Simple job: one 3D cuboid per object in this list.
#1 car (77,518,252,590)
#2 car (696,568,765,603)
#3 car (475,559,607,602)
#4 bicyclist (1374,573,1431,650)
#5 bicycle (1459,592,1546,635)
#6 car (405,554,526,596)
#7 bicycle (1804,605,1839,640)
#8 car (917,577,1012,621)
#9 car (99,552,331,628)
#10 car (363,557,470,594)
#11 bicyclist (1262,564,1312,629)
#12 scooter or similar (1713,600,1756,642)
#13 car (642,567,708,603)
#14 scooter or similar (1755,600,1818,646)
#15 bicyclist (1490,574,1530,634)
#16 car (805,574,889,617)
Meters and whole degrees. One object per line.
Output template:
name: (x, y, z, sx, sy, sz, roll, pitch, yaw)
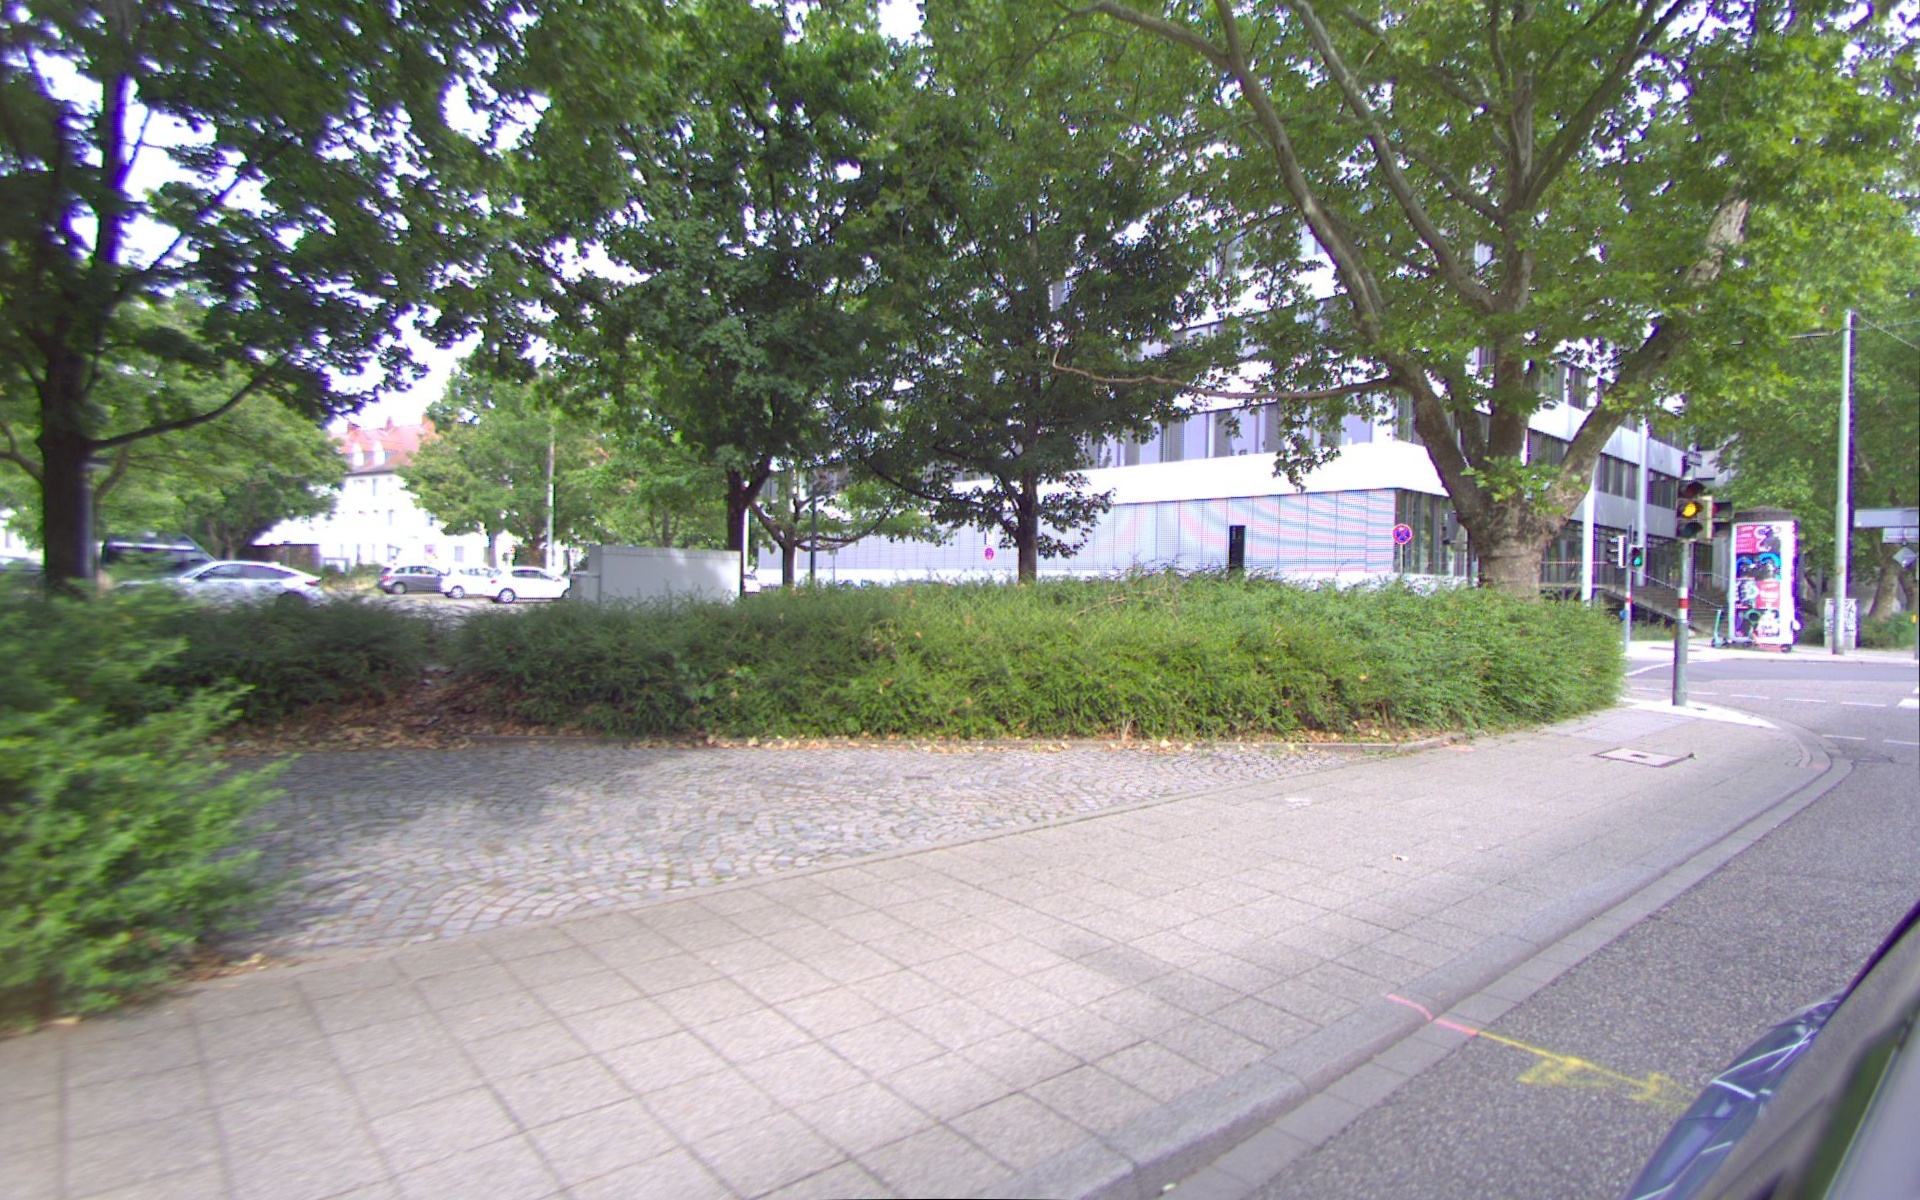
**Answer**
car: (-32.553, -1.791, 41.526, 5.405, 2.647, 2.437, 1, -1, -44)
car: (-12.936, -0.772, 56.966, 3.861, 1.885, 1.925, 0, -1, 40)
car: (-17.368, -0.744, 42.025, 4.688, 1.651, 1.997, 1, -1, -40)
bicyclist: (10.002, 0.242, 22.870, 0.898, 1.699, 0.831, -1, 1, -36)
bicycle: (14.945, 0.385, 27.890, 1.994, 1.145, 0.762, -1, -2, 39)
car: (-23.020, -1.109, 47.206, 4.693, 1.817, 1.995, 1, -1, -44)
bicycle: (30.101, 0.774, 35.350, 1.695, 1.184, 0.699, 1, -1, -41)
car: (0.169, -0.046, 45.470, 3.982, 1.883, 1.971, 0, -1, 40)
car: (-19.473, -0.220, 26.606, 4.694, 1.817, 1.995, 1, -1, -44)
car: (-29.251, -1.278, 54.539, 4.694, 1.817, 1.995, 1, -1, -44)
bicyclist: (8.179, -0.094, 25.322, 0.898, 1.596, 0.831, -1, 1, -36)
scooter or similar: (23.009, 0.608, 30.081, 0.465, 1.151, 1.305, 3, 2, 15)
car: (-17.044, -0.874, 60.466, 3.982, 2.039, 1.971, 0, -1, 40)
scooter or similar: (23.826, 0.646, 29.190, 0.338, 1.224, 1.311, 1, 3, -36)
bicyclist: (15.098, 0.120, 27.785, 0.798, 1.604, 0.762, -2, -2, 40)
car: (-5.647, -0.209, 50.425, 3.982, 2.039, 1.971, 0, -1, 40)
